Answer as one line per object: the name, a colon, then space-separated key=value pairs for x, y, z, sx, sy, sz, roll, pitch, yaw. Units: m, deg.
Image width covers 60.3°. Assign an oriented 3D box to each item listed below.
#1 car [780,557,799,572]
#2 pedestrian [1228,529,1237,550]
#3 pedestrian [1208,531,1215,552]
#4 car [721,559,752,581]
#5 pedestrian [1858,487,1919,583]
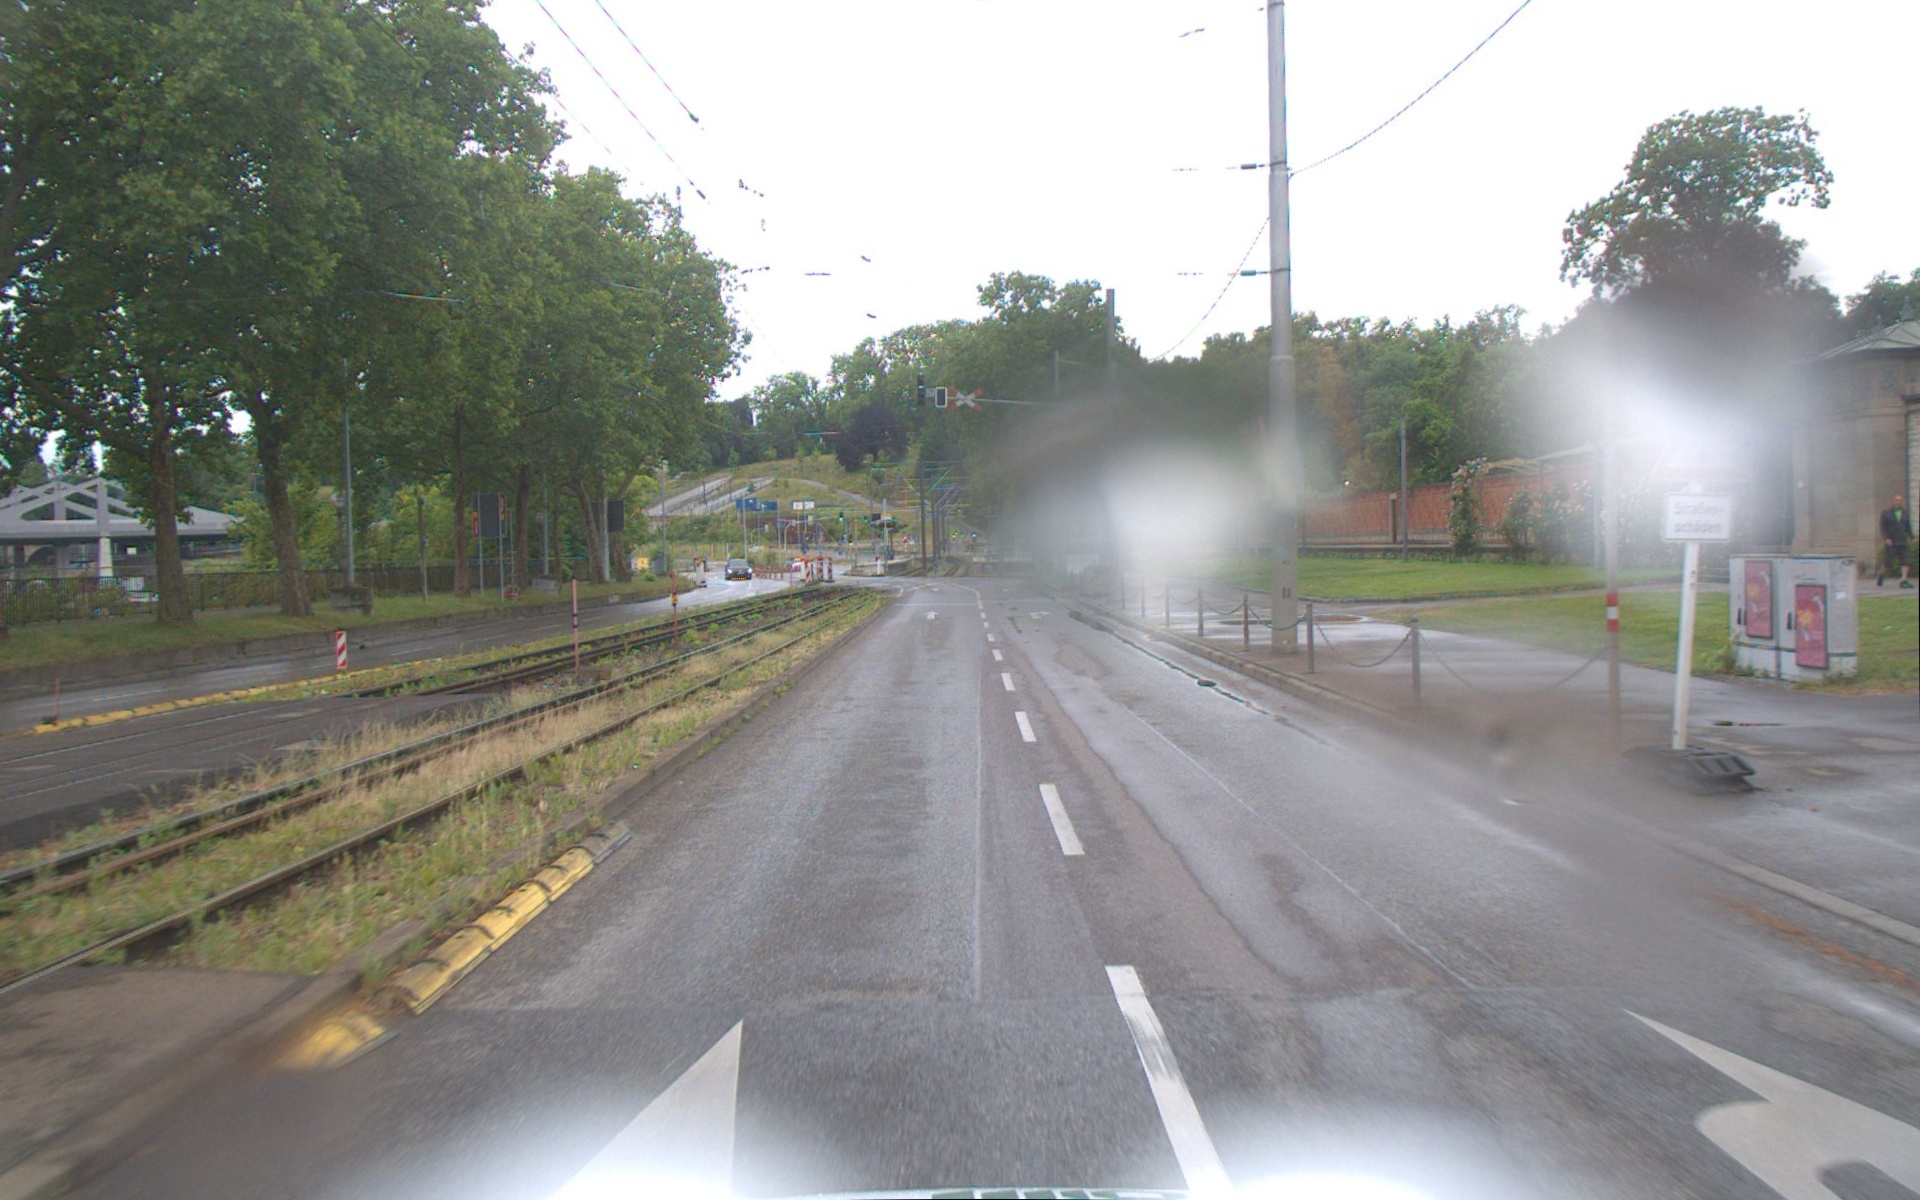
car: x=-18.290 y=-3.852 z=177.559 sx=1.674 sy=1.524 sz=4.720 roll=-2 pitch=2 yaw=-1
pedestrian: x=22.543 y=-5.012 z=136.816 sx=0.540 sy=1.685 sz=0.468 roll=-1 pitch=1 yaw=35
pedestrian: x=20.955 y=-4.893 z=137.964 sx=0.520 sy=1.740 sz=0.696 roll=0 pitch=0 yaw=12
car: x=-16.190 y=-2.182 z=119.714 sx=1.717 sy=1.454 sz=4.546 roll=-3 pitch=2 yaw=-13
pedestrian: x=17.369 y=-1.201 z=30.805 sx=0.713 sy=1.740 sz=0.981 roll=-2 pitch=1 yaw=1
